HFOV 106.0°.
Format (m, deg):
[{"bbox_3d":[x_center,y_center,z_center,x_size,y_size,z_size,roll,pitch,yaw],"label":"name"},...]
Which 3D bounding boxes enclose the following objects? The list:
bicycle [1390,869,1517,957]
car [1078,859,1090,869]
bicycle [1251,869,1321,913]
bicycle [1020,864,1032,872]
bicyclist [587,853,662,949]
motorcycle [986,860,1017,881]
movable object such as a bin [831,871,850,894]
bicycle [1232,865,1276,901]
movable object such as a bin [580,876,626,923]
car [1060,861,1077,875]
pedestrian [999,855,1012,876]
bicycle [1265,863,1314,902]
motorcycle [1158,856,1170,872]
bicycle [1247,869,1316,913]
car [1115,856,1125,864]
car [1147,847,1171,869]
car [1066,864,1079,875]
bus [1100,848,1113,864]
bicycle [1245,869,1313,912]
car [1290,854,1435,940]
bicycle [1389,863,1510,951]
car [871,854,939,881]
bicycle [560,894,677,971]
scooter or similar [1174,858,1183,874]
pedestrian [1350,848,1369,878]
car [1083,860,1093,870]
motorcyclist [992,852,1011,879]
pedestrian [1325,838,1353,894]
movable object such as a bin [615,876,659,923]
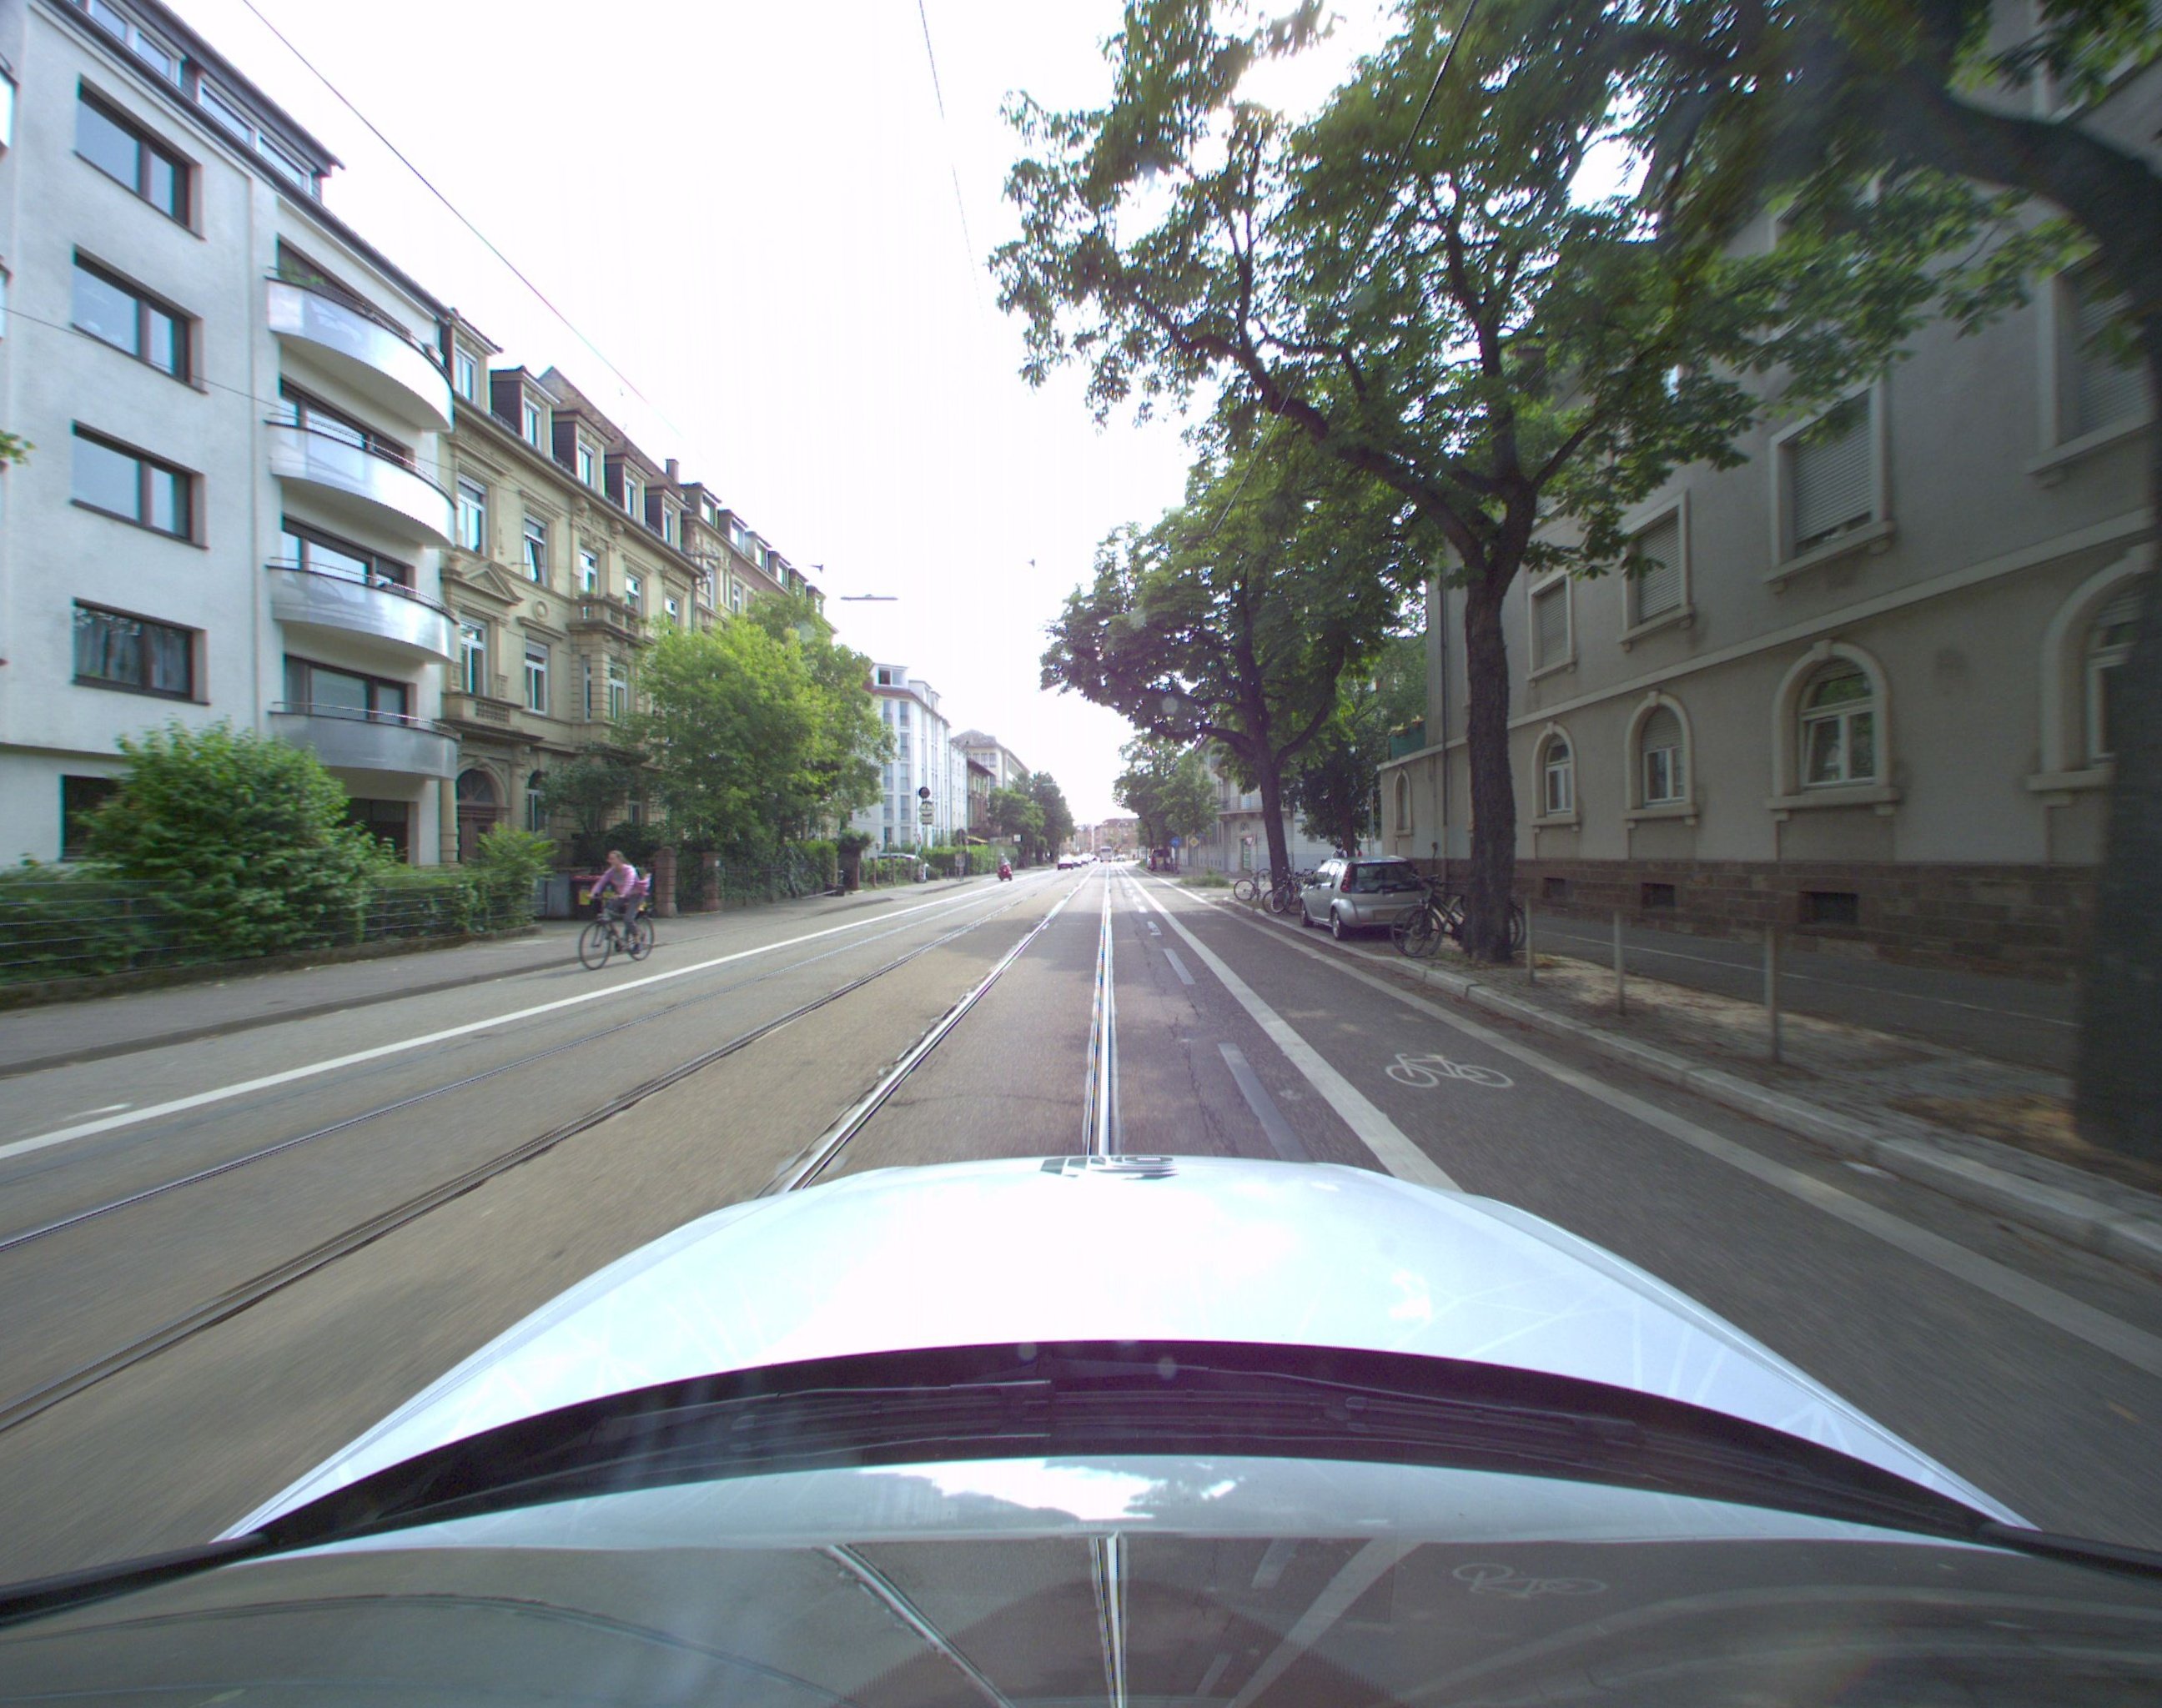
[{"bbox_3d":[5.065,0.801,11.141,1.479,1.153,0.519,-1,-1,8],"label":"bicycle"},{"bbox_3d":[0.481,1.563,129.870,1.721,1.540,4.277,-2,-1,1],"label":"car"},{"bbox_3d":[5.100,0.920,20.323,1.639,1.070,0.349,-1,-1,5],"label":"bicycle"},{"bbox_3d":[-6.694,1.694,99.328,1.138,0.909,2.990,2,0,2],"label":"bicycle"},{"bbox_3d":[-7.013,0.701,12.553,0.562,1.425,0.943,-1,-1,4],"label":"bicyclist"},{"bbox_3d":[-5.093,1.058,52.118,2.061,1.360,0.746,-2,-1,39],"label":"motorcycle"},{"bbox_3d":[-9.970,1.194,33.758,0.576,0.925,0.641,-1,-1,2],"label":"movable object such as a bin"},{"bbox_3d":[5.386,0.905,25.405,1.263,1.066,0.478,-1,-1,1],"label":"bicycle"},{"bbox_3d":[-11.687,1.105,19.926,0.665,1.107,0.733,-1,-1,-2],"label":"movable object such as a bin"},{"bbox_3d":[-1.384,1.557,92.300,1.587,1.440,3.940,-3,-1,4],"label":"car"},{"bbox_3d":[-7.040,1.081,75.721,1.055,1.917,0.830,-1,-1,3],"label":"pedestrian"},{"bbox_3d":[6.464,0.859,25.336,0.586,1.158,1.826,-1,0,-17],"label":"bicycle"},{"bbox_3d":[6.957,0.841,68.400,0.854,1.321,2.447,-1,-1,3],"label":"motorcycle"},{"bbox_3d":[5.078,0.932,20.686,1.639,1.070,0.349,-1,-1,5],"label":"bicycle"},{"bbox_3d":[8.495,1.325,176.556,2.123,1.684,4.102,0,0,1],"label":"car"},{"bbox_3d":[7.095,0.380,74.505,1.888,1.941,4.952,-2,0,2],"label":"car"},{"bbox_3d":[-1.115,2.005,108.039,1.622,1.407,4.131,-1,0,2],"label":"car"},{"bbox_3d":[5.632,0.533,181.991,2.907,3.328,12.208,0,-1,1],"label":"bus"},{"bbox_3d":[5.113,0.948,21.071,1.639,1.070,0.349,-1,-1,5],"label":"bicycle"},{"bbox_3d":[5.303,0.746,15.853,1.579,1.445,3.899,-1,0,2],"label":"car"},{"bbox_3d":[5.266,0.758,11.709,1.479,1.221,0.519,-1,-1,8],"label":"bicycle"},{"bbox_3d":[-13.923,1.073,64.506,4.886,2.014,2.061,-2,-1,24],"label":"car"},{"bbox_3d":[-7.014,1.163,12.474,0.567,0.989,1.920,-1,0,4],"label":"bicycle"},{"bbox_3d":[7.468,0.905,62.188,0.530,1.251,1.721,-2,-1,3],"label":"scooter or similar"},{"bbox_3d":[18.233,0.621,53.313,0.965,1.937,0.907,-1,-1,28],"label":"pedestrian"},{"bbox_3d":[1.428,2.176,165.585,1.891,1.907,5.384,-2,0,1],"label":"car"},{"bbox_3d":[-5.084,0.728,52.113,0.909,1.714,0.746,-2,-1,39],"label":"motorcyclist"},{"bbox_3d":[8.691,0.407,27.449,0.615,1.834,1.030,-1,-1,1],"label":"pedestrian"},{"bbox_3d":[-10.805,1.096,19.851,0.665,1.107,0.733,-1,-1,-2],"label":"movable object such as a bin"}]
